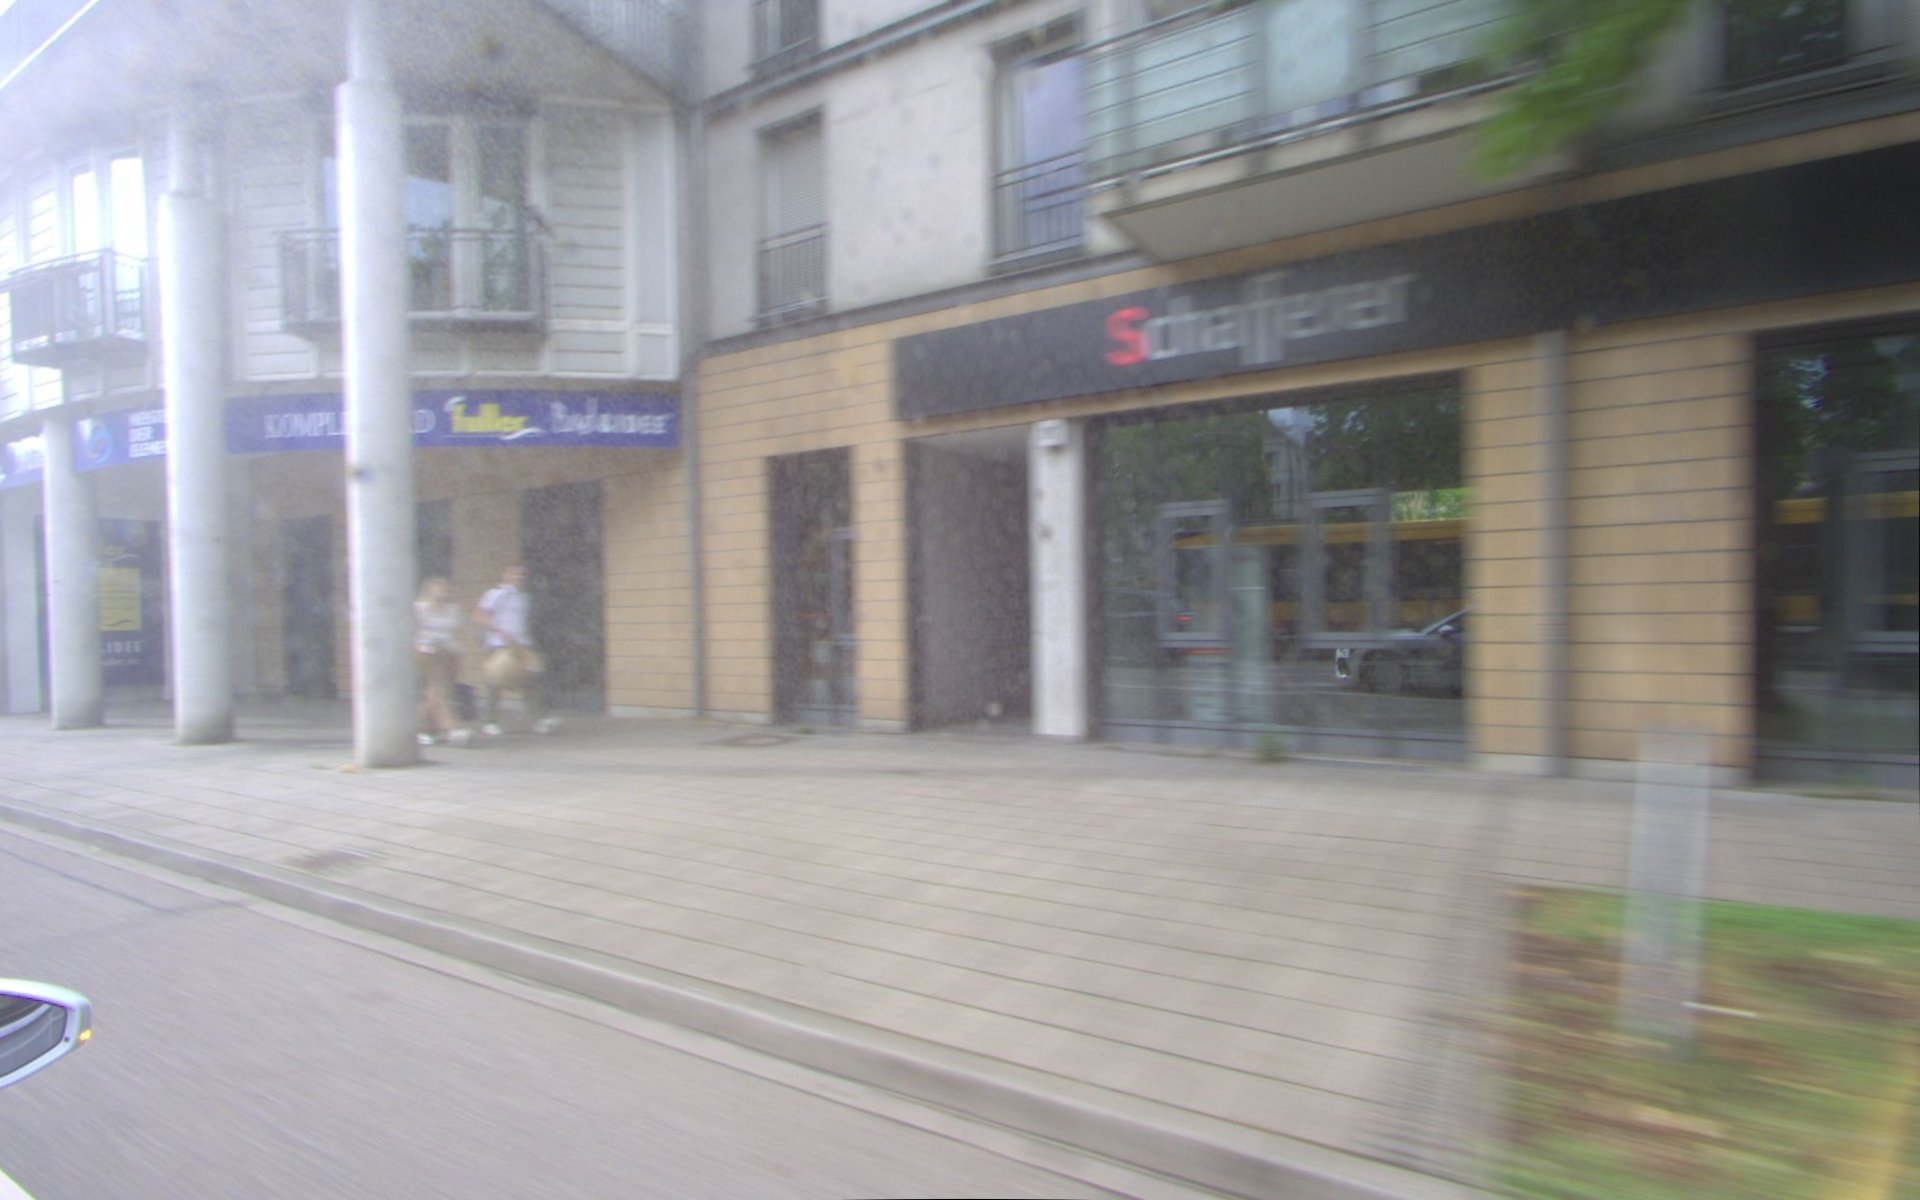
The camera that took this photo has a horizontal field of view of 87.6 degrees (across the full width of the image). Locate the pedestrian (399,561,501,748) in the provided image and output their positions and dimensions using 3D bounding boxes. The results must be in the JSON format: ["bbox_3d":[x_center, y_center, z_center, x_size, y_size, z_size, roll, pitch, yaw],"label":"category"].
[{"bbox_3d":[-5.213,0.539,10.245,0.727,1.830,0.614,0,1,34],"label":"pedestrian"}]

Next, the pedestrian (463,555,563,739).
[{"bbox_3d":[-4.868,0.493,10.920,0.727,1.916,0.673,0,1,34],"label":"pedestrian"}]
